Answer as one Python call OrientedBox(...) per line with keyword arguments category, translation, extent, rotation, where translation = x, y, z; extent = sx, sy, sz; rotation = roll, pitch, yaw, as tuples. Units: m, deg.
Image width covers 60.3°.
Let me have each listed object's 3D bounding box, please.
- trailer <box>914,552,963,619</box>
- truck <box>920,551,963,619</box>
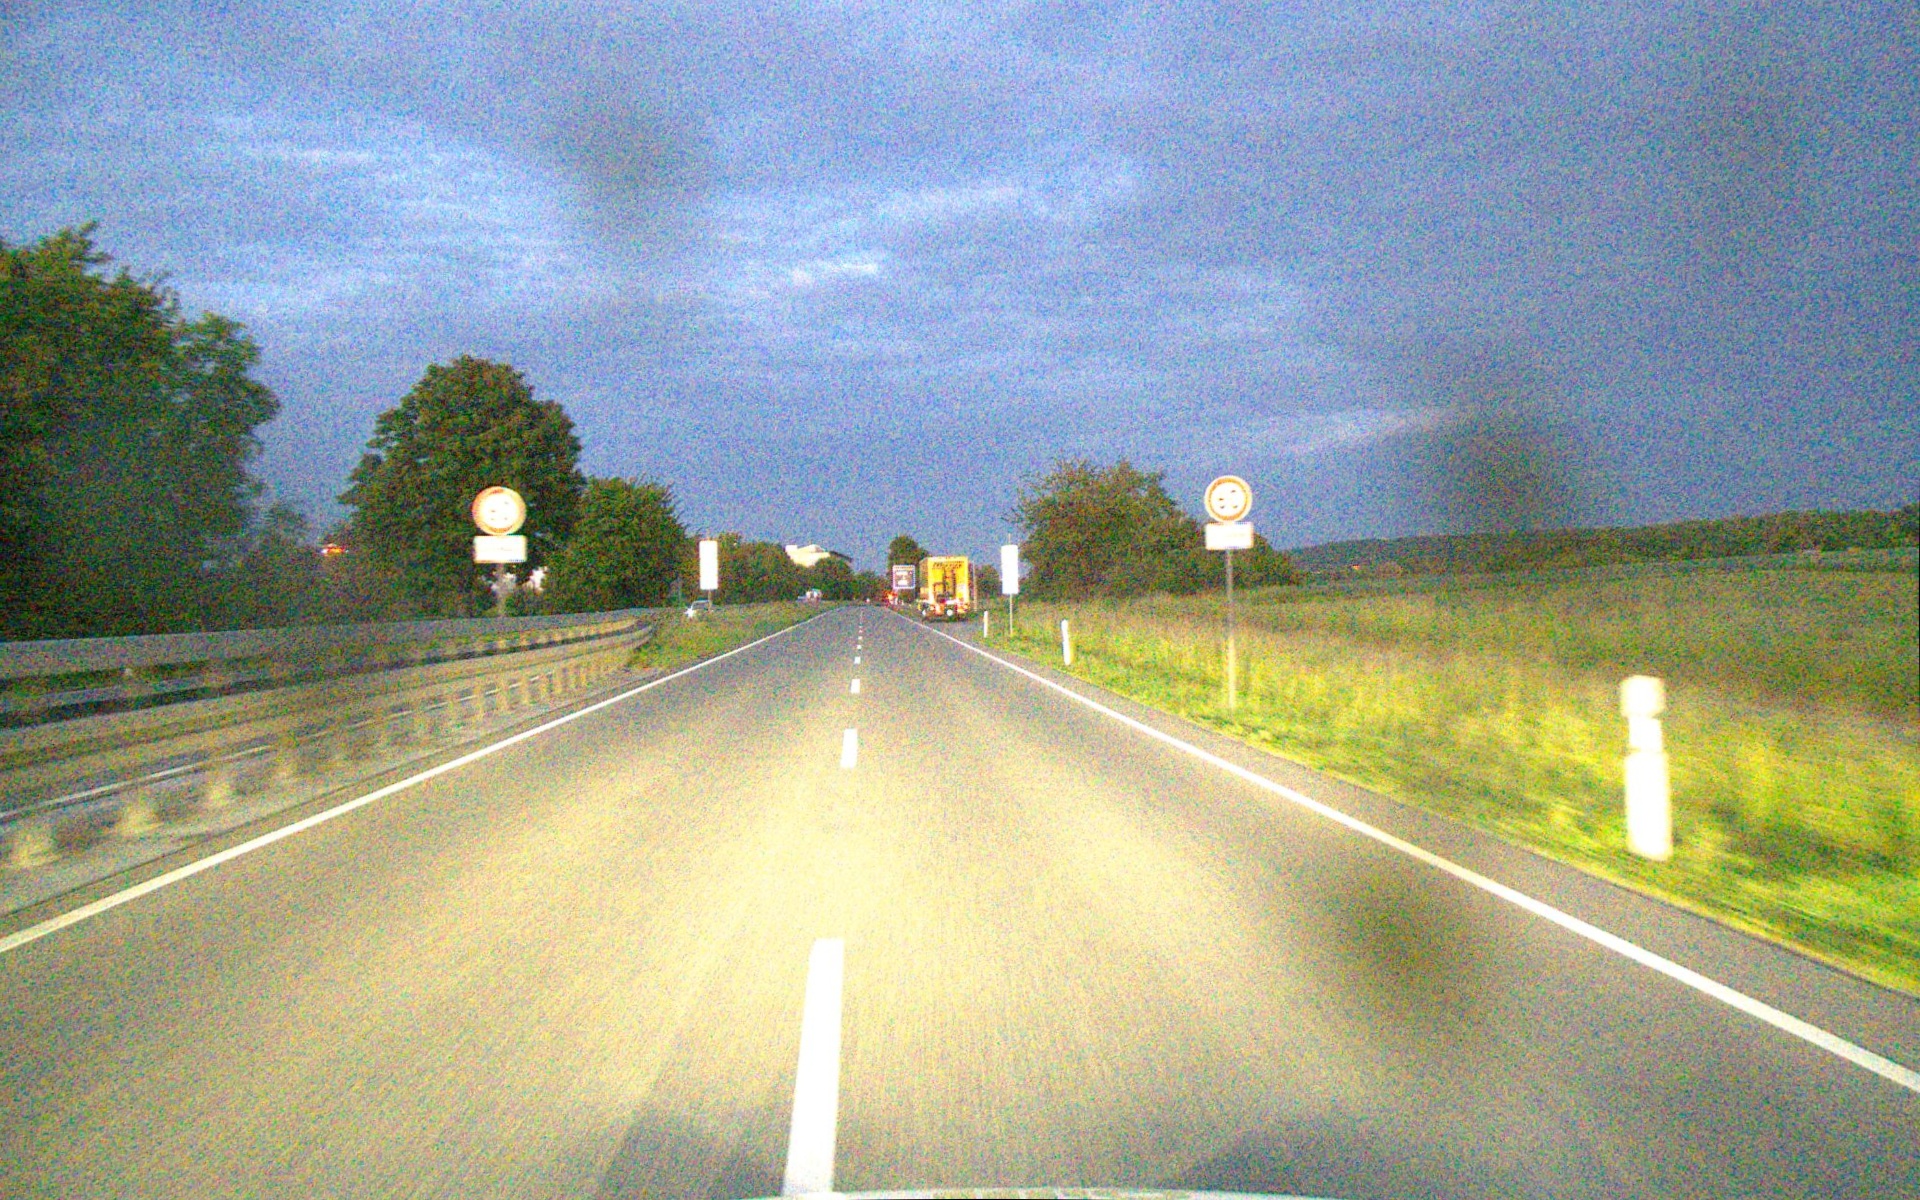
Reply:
OrientedBox(category="trailer", translation=(-1.542, -0.924, 111.185), extent=(2.570, 4.175, 12.928), rotation=(-1, 0, -3))
OrientedBox(category="truck", translation=(-1.186, -0.952, 104.419), extent=(2.528, 4.142, 6.127), rotation=(0, 0, -3))
